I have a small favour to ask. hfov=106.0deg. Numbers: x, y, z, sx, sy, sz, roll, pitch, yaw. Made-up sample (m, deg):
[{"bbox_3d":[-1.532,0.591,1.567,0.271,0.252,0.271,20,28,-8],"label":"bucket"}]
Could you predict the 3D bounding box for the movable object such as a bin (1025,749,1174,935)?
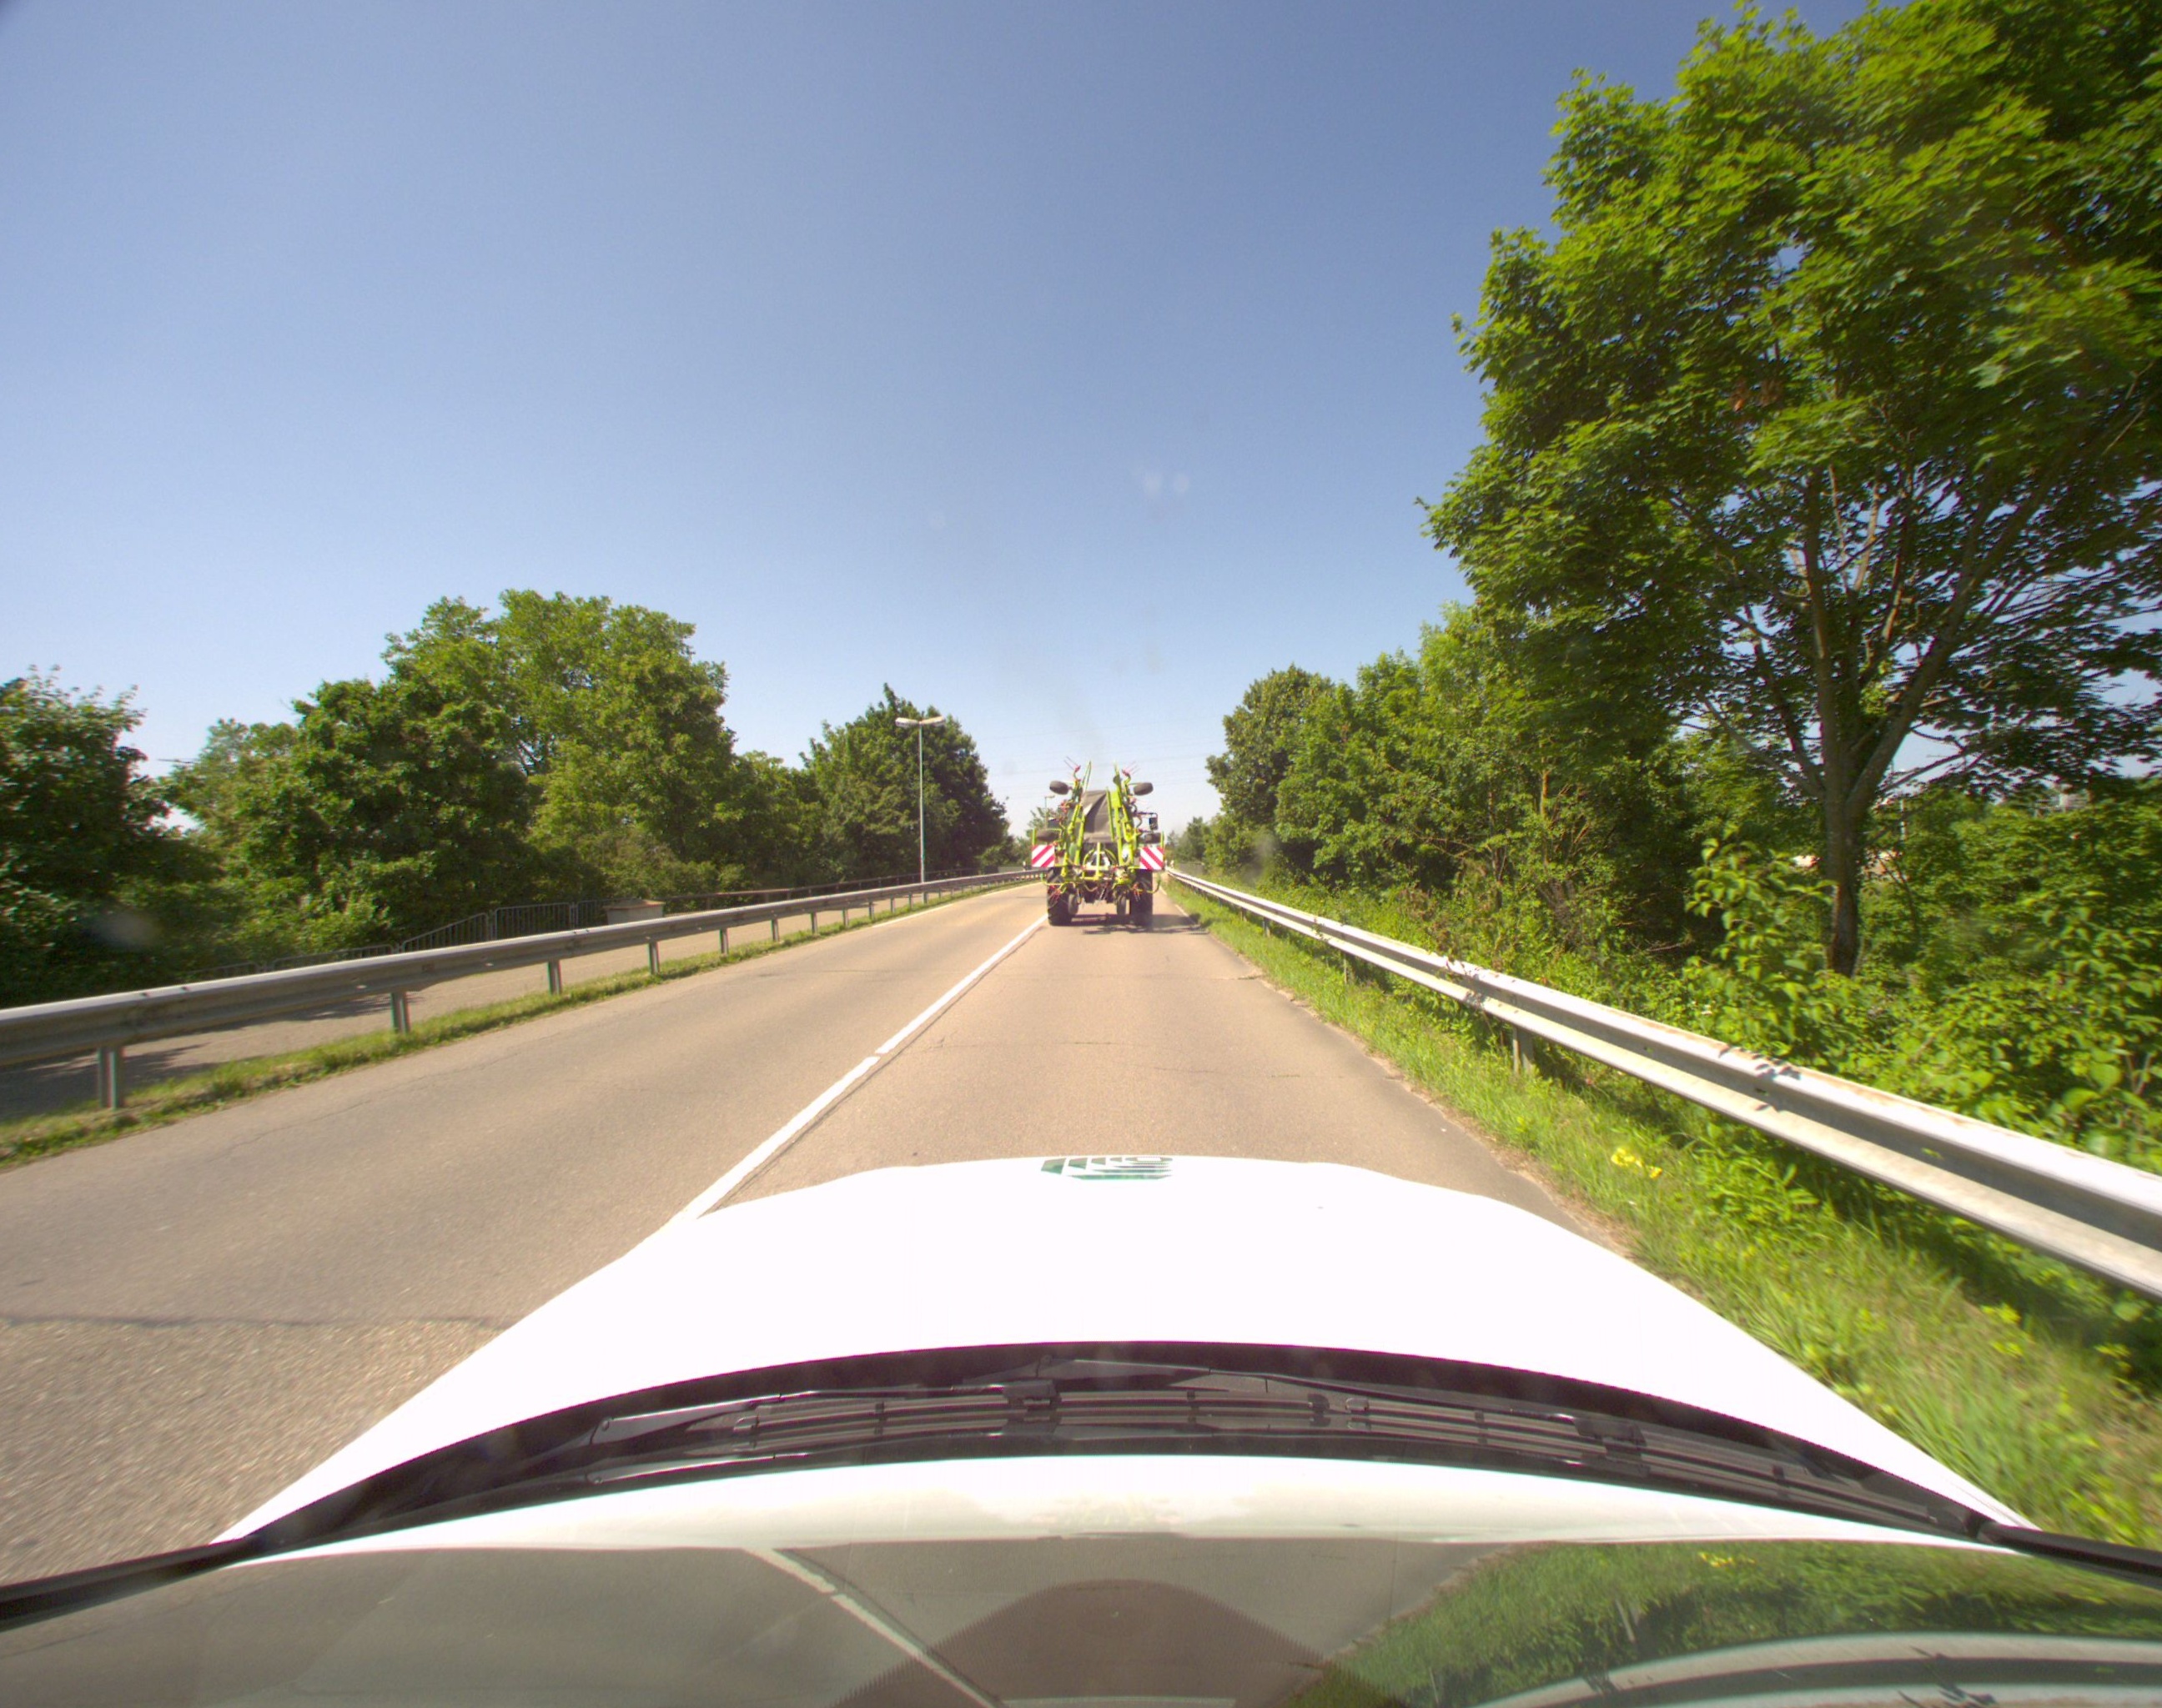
[{"bbox_3d":[0.452,-0.219,18.154,2.745,3.444,5.672,-1,0,2],"label":"movable object such as a bin"}]
